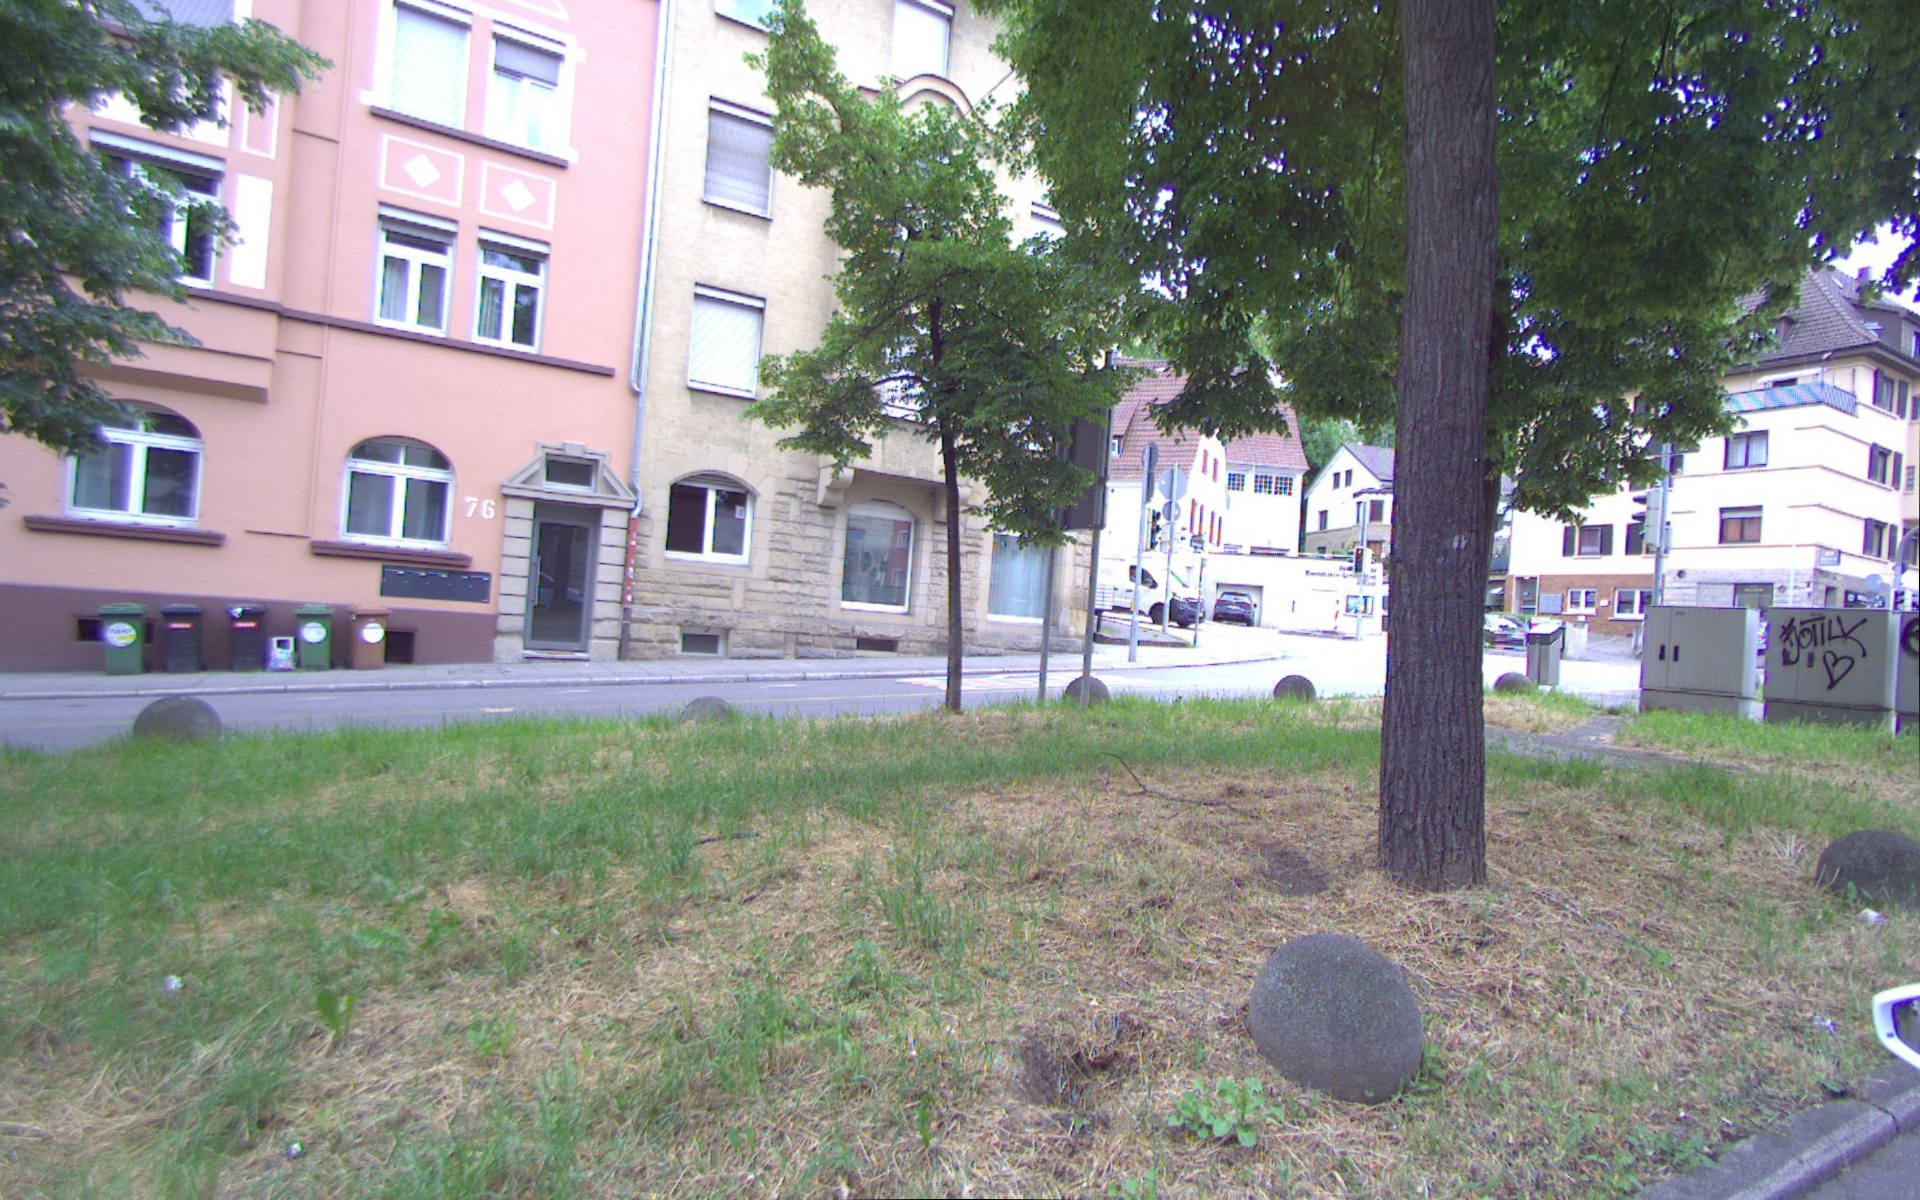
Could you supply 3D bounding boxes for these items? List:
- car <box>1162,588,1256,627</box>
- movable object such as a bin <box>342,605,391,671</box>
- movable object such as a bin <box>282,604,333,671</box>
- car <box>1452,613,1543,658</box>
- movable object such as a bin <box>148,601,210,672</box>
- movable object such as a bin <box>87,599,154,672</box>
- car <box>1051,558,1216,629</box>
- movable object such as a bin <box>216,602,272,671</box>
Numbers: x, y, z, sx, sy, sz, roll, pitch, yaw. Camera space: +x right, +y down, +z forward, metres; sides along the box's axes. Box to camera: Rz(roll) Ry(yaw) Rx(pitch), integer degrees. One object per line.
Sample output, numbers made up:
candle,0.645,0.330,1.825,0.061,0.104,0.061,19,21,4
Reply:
car,11.094,0.328,44.765,3.920,1.530,1.800,2,1,18
movable object such as a bin,-8.735,0.554,14.779,0.595,0.916,0.605,1,2,-33
movable object such as a bin,-9.370,0.530,14.442,0.595,0.916,0.605,1,2,-33
car,22.278,1.429,41.805,1.844,1.687,4.002,3,-1,5
movable object such as a bin,-10.629,0.492,13.692,0.595,0.916,0.605,1,2,-33
movable object such as a bin,-11.177,0.469,13.385,0.595,0.916,0.605,1,2,-33
car,5.765,-0.266,33.795,5.106,2.092,1.986,4,2,40
movable object such as a bin,-10.032,0.508,14.088,0.595,0.916,0.605,1,2,-33
